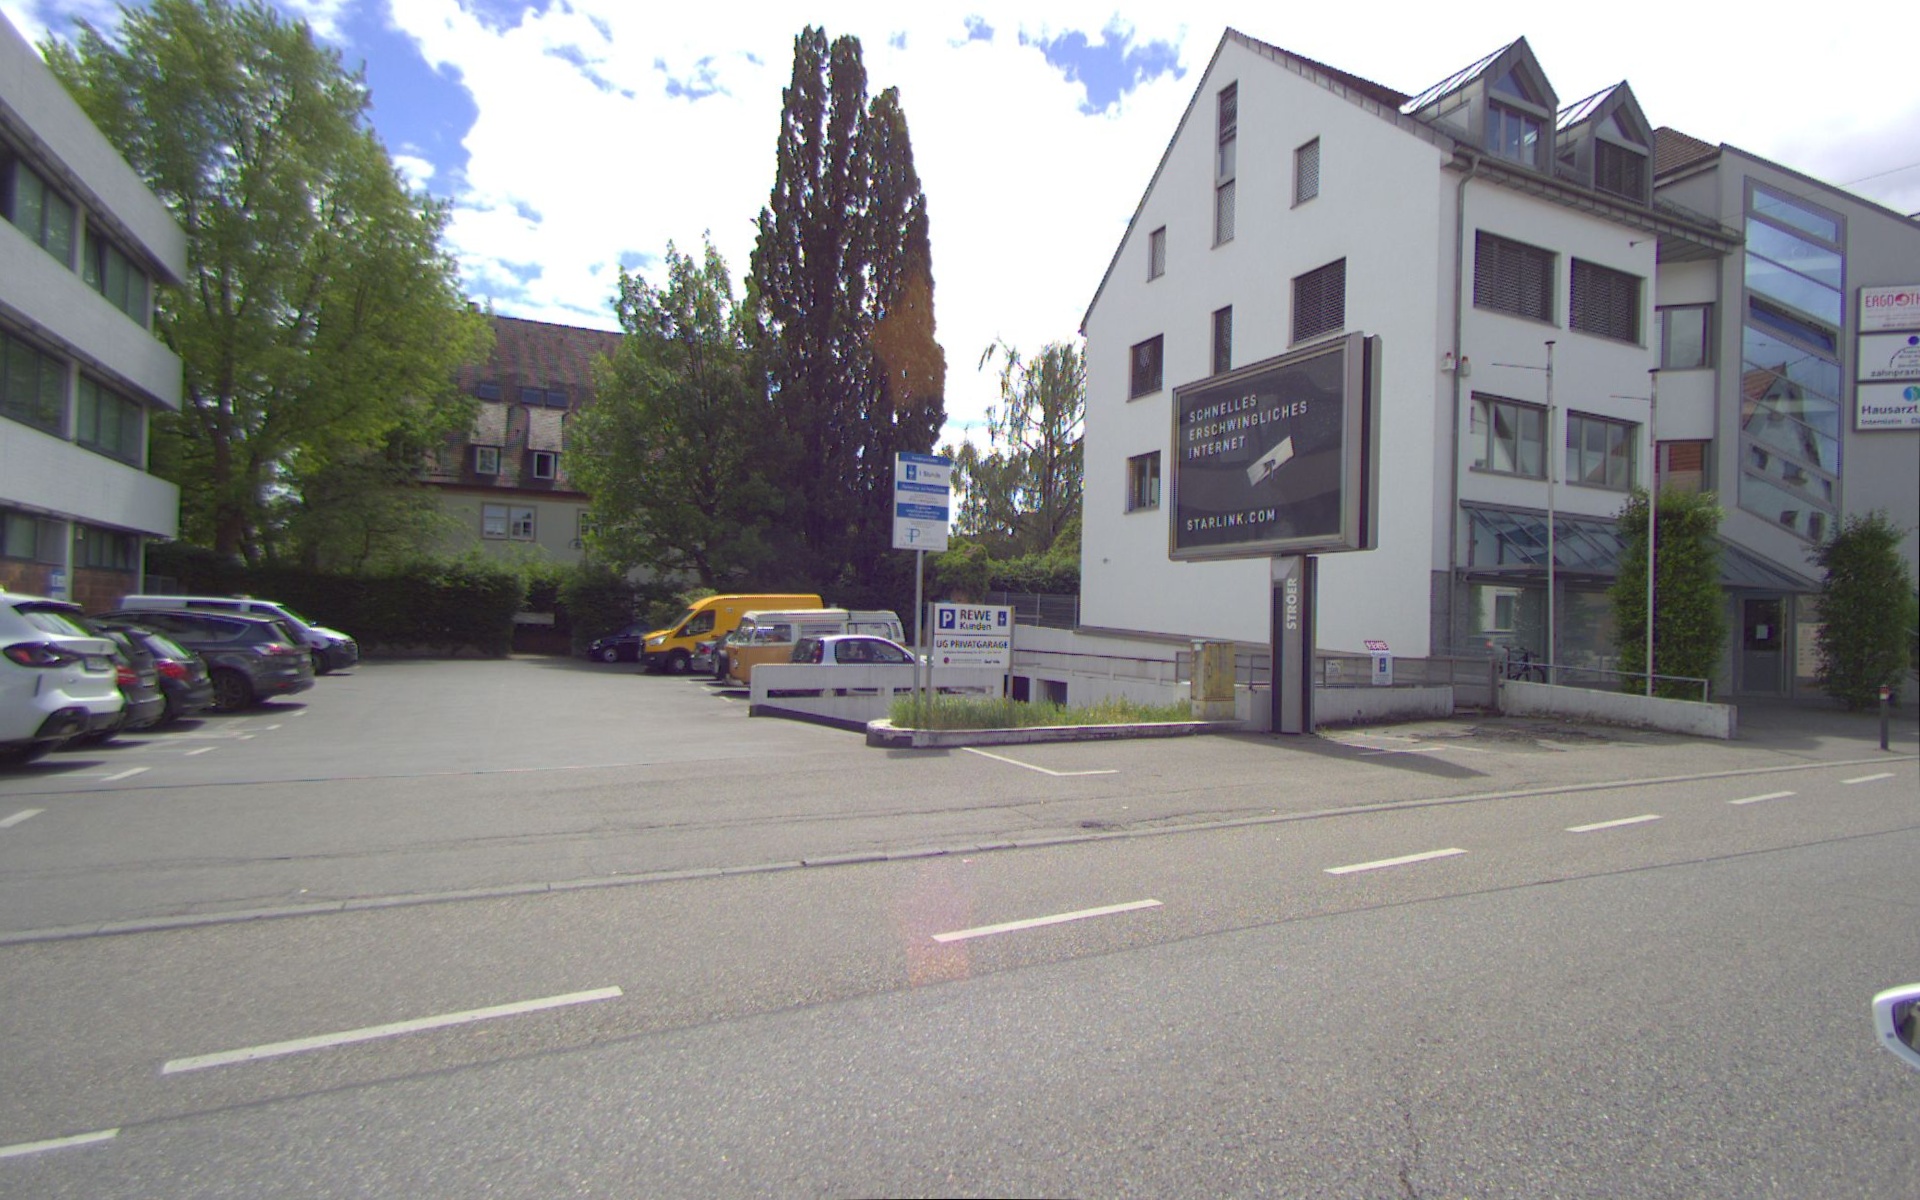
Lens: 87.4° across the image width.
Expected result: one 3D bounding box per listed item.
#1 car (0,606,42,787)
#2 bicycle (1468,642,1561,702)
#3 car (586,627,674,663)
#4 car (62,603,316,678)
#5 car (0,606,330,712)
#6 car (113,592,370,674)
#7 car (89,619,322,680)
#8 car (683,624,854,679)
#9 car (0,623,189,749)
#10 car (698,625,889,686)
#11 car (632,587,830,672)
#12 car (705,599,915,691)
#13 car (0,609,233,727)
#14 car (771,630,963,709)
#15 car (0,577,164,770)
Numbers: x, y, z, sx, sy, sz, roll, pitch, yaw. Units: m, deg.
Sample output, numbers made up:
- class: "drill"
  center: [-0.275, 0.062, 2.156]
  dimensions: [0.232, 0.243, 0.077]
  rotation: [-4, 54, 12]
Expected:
- class: "car"
  center: [-9.273, 0.654, 6.284]
  dimensions: [4.792, 1.376, 1.945]
  rotation: [2, -2, -26]
- class: "bicycle"
  center: [10.807, 1.381, 19.558]
  dimensions: [1.978, 1.109, 0.628]
  rotation: [2, -1, -29]
- class: "car"
  center: [-12.207, 1.664, 37.155]
  dimensions: [2.994, 1.200, 1.413]
  rotation: [2, 1, -23]
- class: "car"
  center: [-16.284, 0.866, 21.493]
  dimensions: [3.945, 1.480, 1.841]
  rotation: [2, -1, -25]
- class: "car"
  center: [-13.305, 0.948, 16.834]
  dimensions: [4.438, 1.599, 1.915]
  rotation: [1, -1, -27]
- class: "car"
  center: [-18.271, 0.878, 25.900]
  dimensions: [5.018, 1.967, 1.963]
  rotation: [2, -1, -24]
- class: "car"
  center: [-17.258, 1.124, 23.229]
  dimensions: [3.945, 1.312, 1.841]
  rotation: [2, -2, -25]
- class: "car"
  center: [-5.399, 1.479, 28.421]
  dimensions: [4.447, 1.457, 1.807]
  rotation: [2, -3, -25]
- class: "car"
  center: [-11.215, 0.945, 11.433]
  dimensions: [3.559, 1.348, 1.756]
  rotation: [2, -2, -28]
- class: "car"
  center: [-4.346, 1.440, 26.290]
  dimensions: [4.619, 1.457, 1.806]
  rotation: [2, -1, -25]
- class: "car"
  center: [-7.320, 1.020, 32.343]
  dimensions: [5.901, 2.563, 2.054]
  rotation: [2, -3, -27]
- class: "car"
  center: [-3.540, 1.070, 23.880]
  dimensions: [4.588, 2.015, 1.831]
  rotation: [2, -1, -27]
- class: "car"
  center: [-12.799, 0.938, 14.408]
  dimensions: [3.559, 1.566, 1.756]
  rotation: [2, -2, -28]
- class: "car"
  center: [-1.988, 1.457, 21.674]
  dimensions: [3.716, 1.549, 1.801]
  rotation: [2, -2, -33]
- class: "car"
  center: [-10.275, 0.643, 8.720]
  dimensions: [4.860, 1.640, 1.947]
  rotation: [1, -4, -24]
